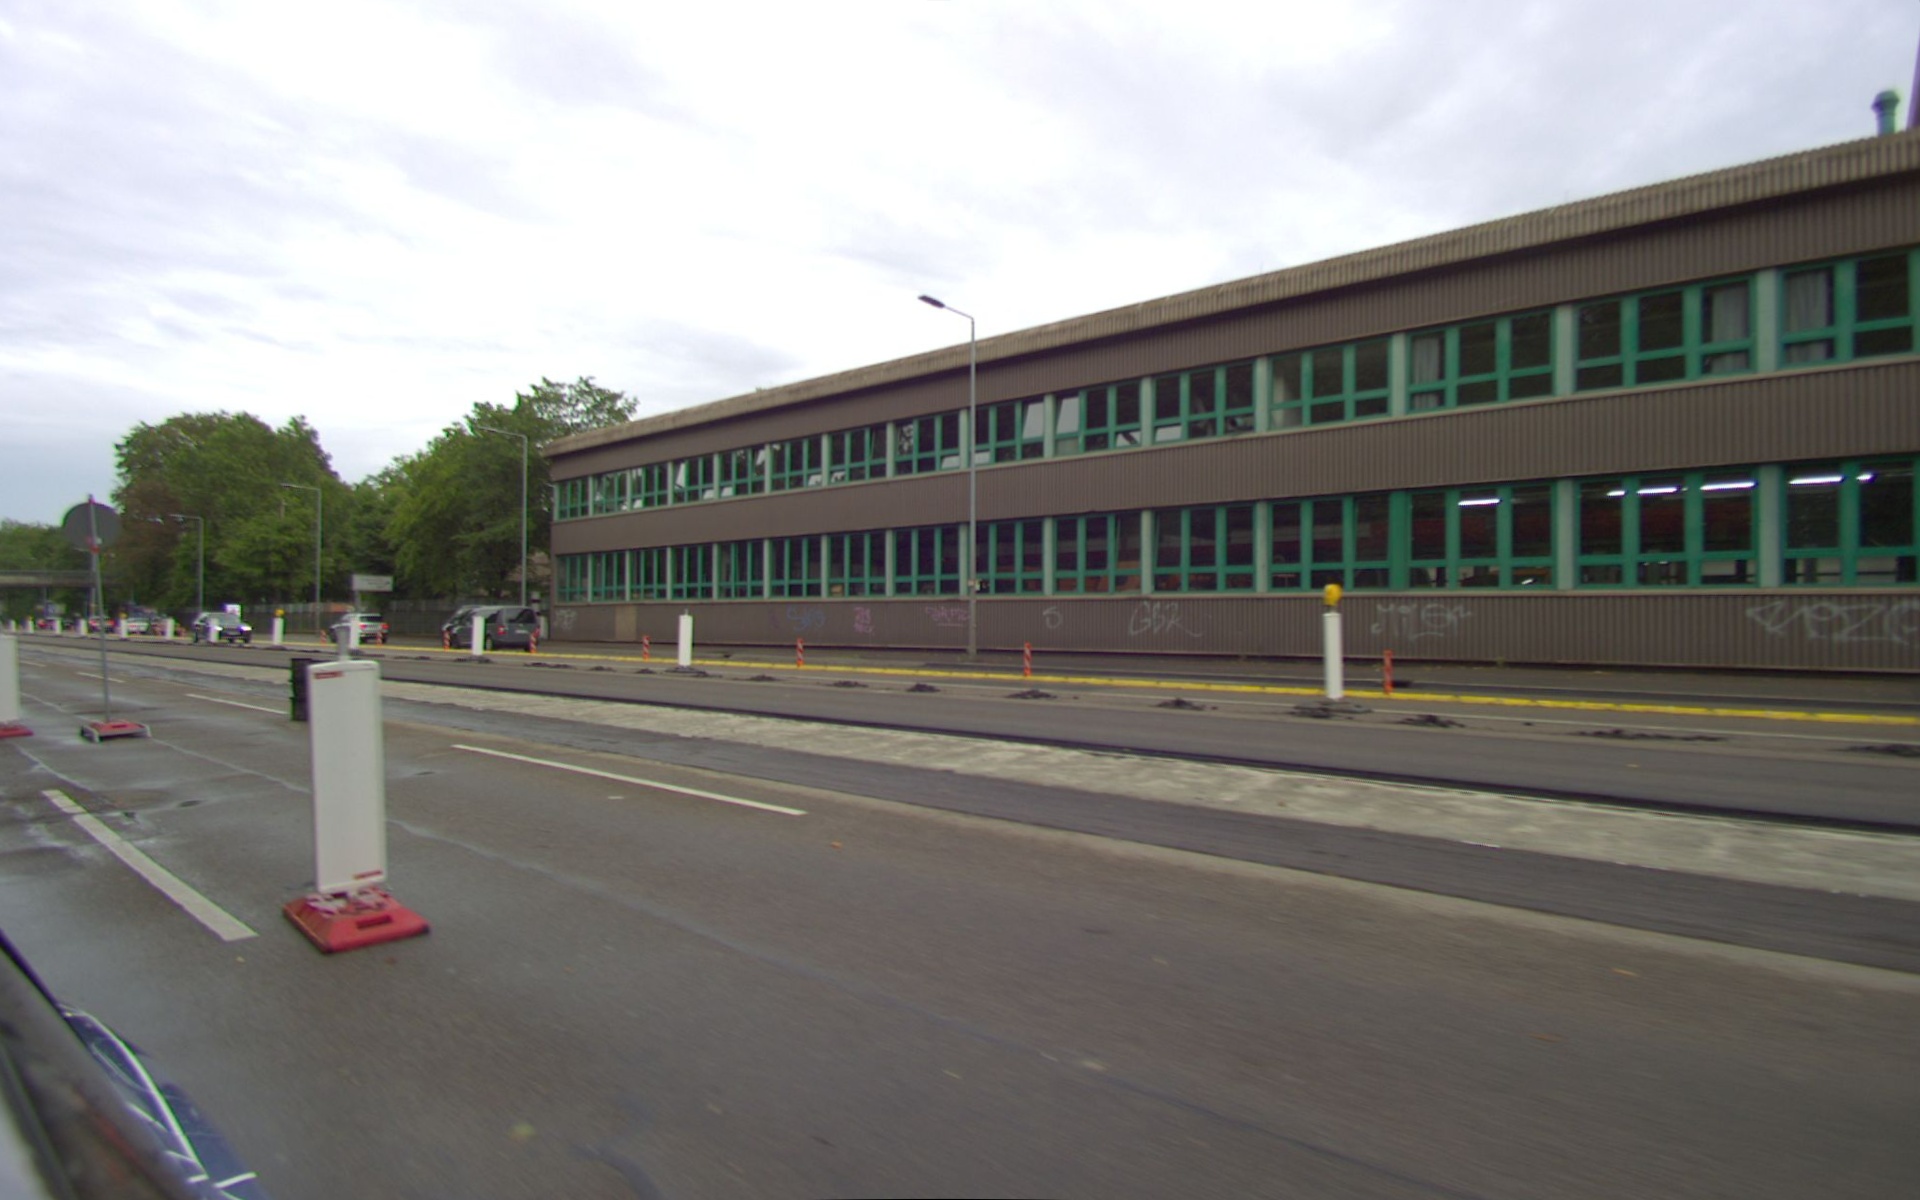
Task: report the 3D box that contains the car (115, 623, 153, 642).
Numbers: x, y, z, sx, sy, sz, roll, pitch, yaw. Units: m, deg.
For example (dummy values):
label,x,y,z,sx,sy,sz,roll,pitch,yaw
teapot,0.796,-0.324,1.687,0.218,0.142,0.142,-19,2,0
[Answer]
label,x,y,z,sx,sy,sz,roll,pitch,yaw
car,-68.938,2.683,84.456,3.990,1.546,1.785,-1,-1,41

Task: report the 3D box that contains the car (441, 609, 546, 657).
label,x,y,z,sx,sy,sz,roll,pitch,yaw
car,-18.585,1.280,40.220,4.952,1.794,1.973,-1,-1,41

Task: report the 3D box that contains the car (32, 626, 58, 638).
label,x,y,z,sx,sy,sz,roll,pitch,yaw
car,-118.559,4.125,131.114,4.261,1.440,1.973,-2,-1,40

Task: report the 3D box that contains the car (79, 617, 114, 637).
label,x,y,z,sx,sy,sz,roll,pitch,yaw
car,-80.954,2.496,94.847,4.674,1.781,1.967,-1,-1,43

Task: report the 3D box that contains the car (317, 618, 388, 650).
label,x,y,z,sx,sy,sz,roll,pitch,yaw
car,-34.277,1.896,57.062,4.931,1.719,1.918,-1,-1,40
